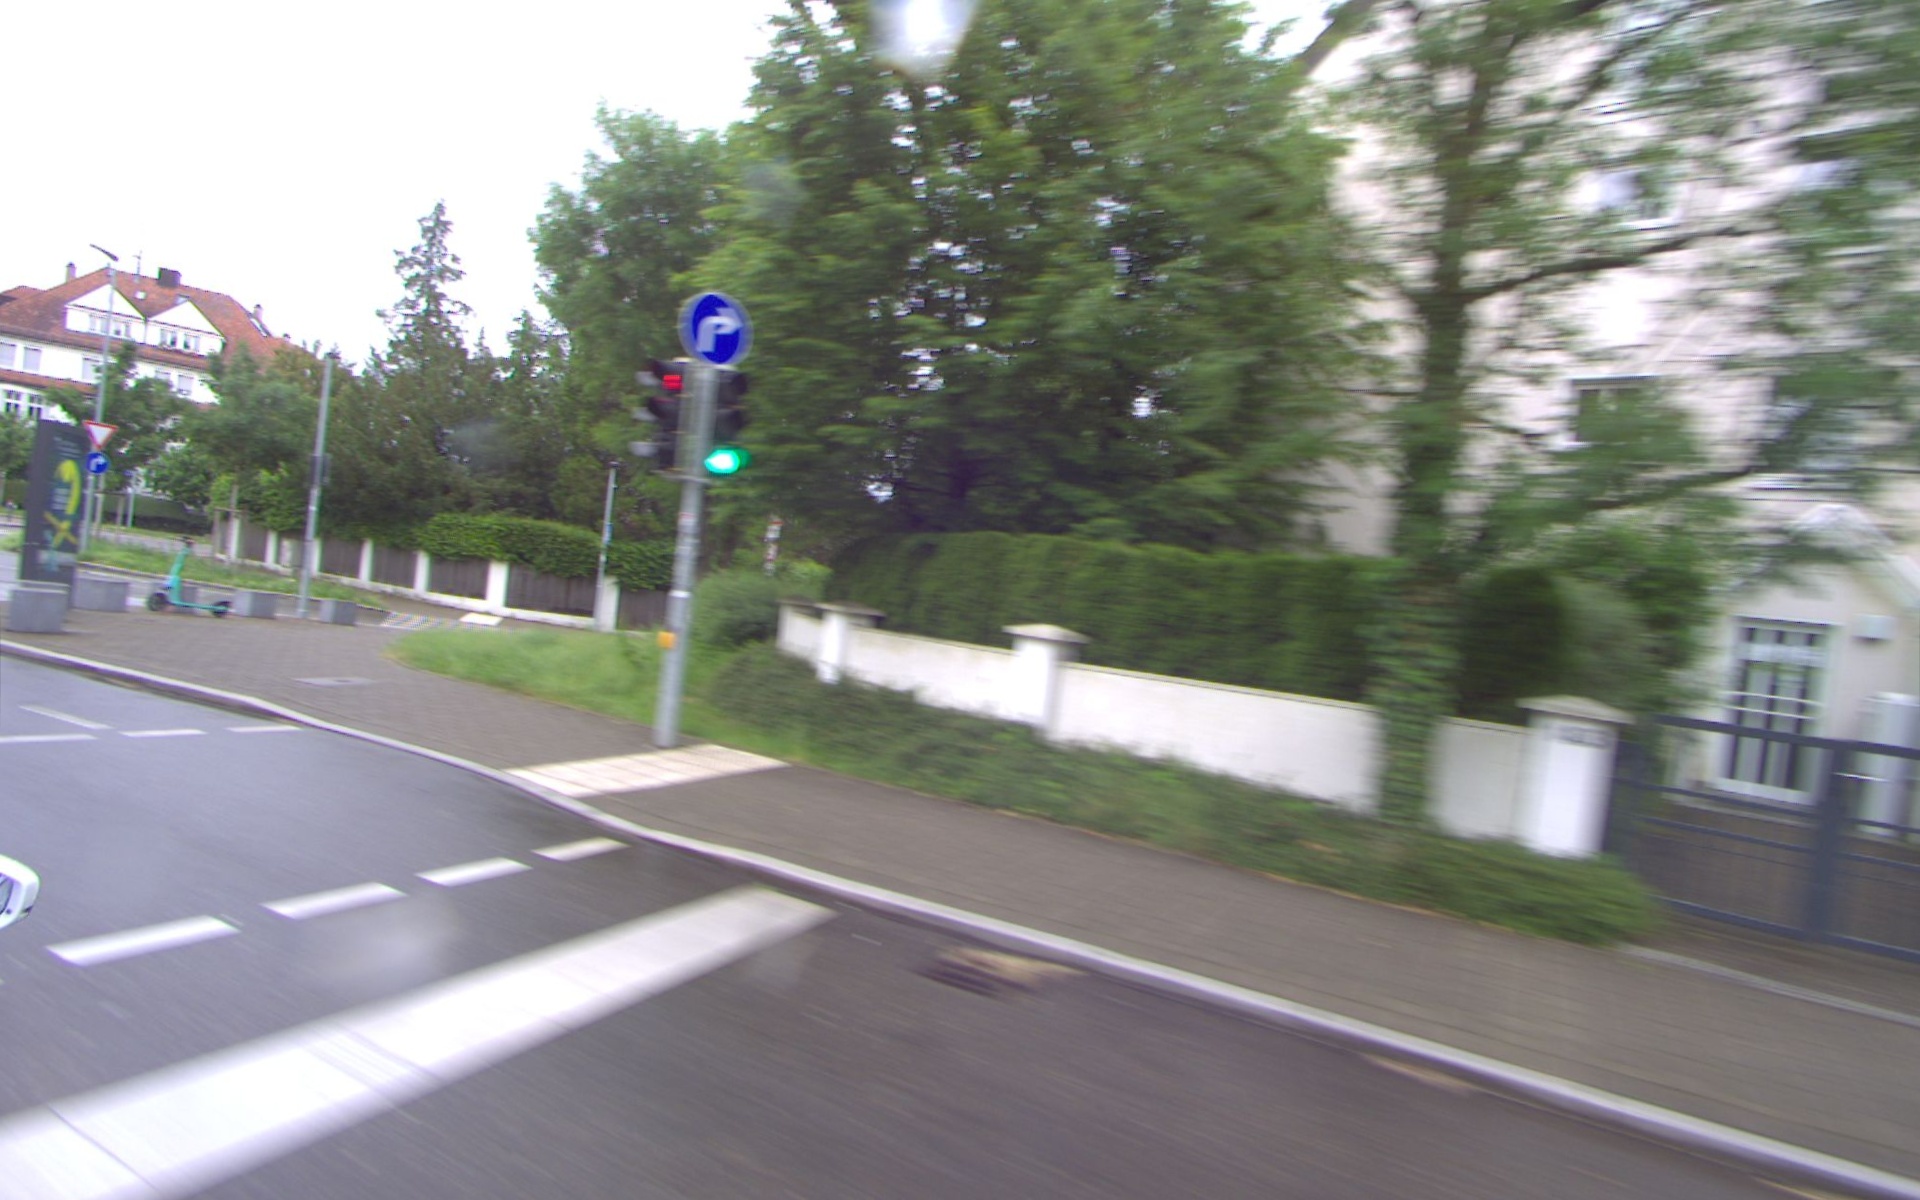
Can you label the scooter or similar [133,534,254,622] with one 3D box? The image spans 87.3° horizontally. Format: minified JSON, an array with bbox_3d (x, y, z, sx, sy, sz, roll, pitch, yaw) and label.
[{"bbox_3d":[-12.322,-0.334,16.208,0.515,1.220,1.353,6,-2,24],"label":"scooter or similar"}]
